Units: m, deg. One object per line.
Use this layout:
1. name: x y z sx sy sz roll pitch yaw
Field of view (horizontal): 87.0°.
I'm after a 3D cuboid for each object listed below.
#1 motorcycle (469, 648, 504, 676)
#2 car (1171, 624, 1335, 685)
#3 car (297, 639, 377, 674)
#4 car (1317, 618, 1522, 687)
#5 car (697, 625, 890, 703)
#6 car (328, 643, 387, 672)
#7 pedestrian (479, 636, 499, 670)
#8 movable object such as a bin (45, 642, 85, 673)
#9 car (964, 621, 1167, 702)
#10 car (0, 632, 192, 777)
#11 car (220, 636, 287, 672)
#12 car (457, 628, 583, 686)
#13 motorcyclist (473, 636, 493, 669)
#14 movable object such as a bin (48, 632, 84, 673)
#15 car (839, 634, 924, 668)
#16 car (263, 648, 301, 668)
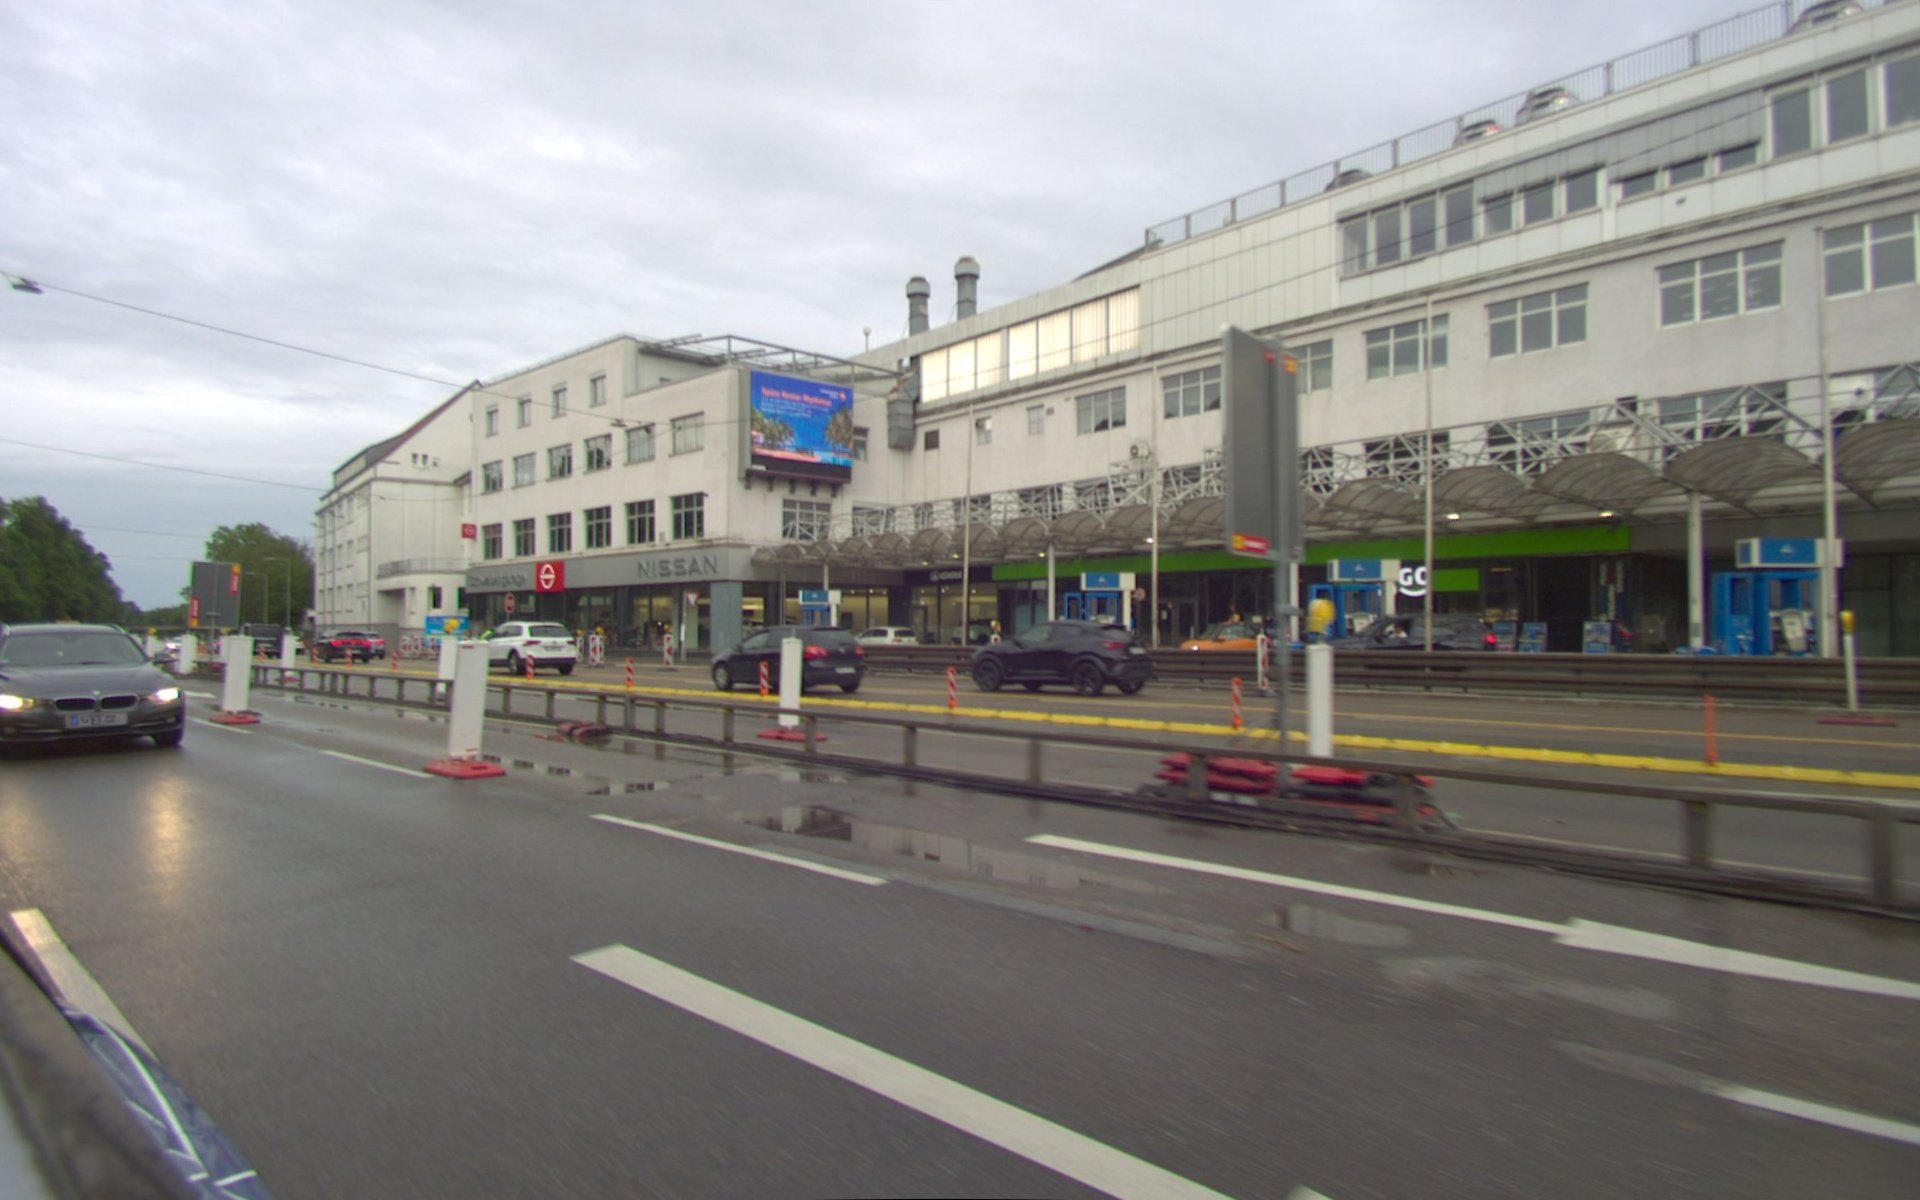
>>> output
1. motorcycle: -19.775 2.576 42.254 2.027 1.111 0.572 -2 -4 43
2. car: 8.959 1.687 31.142 4.375 1.784 1.970 1 -3 -8
3. car: -28.261 2.535 45.838 4.706 1.477 1.831 -2 -4 42
4. car: 11.883 1.370 26.317 4.409 1.692 2.017 1 -3 -8
5. car: -3.730 1.365 22.294 4.298 1.533 1.938 -3 -3 42
6. car: -34.402 3.240 57.743 4.264 1.597 1.728 -2 -4 43
7. pedestrian: -19.625 2.201 42.161 0.561 1.374 0.582 -3 -4 41
8. movable object such as a bin: -63.361 4.094 71.711 1.969 2.128 3.855 3 -4 -40
9. car: 2.159 1.275 21.410 4.076 1.548 1.692 -2 -4 41
10. car: -10.822 1.150 12.155 4.176 1.461 1.741 -3 -3 41
11. car: -39.808 3.010 56.980 5.230 1.951 1.972 -2 -4 42
12. car: -14.059 1.793 32.216 4.578 1.703 1.918 -2 -3 42
13. motorcyclist: -20.052 2.219 42.556 0.561 1.374 0.582 -3 -4 41
14. movable object such as a bin: -66.847 3.952 75.689 1.799 2.935 3.612 3 -5 -40
15. car: -3.714 2.381 47.599 3.968 1.494 1.793 -2 -4 44
16. car: -55.261 4.715 82.444 1.762 1.519 4.525 3 -4 -44
